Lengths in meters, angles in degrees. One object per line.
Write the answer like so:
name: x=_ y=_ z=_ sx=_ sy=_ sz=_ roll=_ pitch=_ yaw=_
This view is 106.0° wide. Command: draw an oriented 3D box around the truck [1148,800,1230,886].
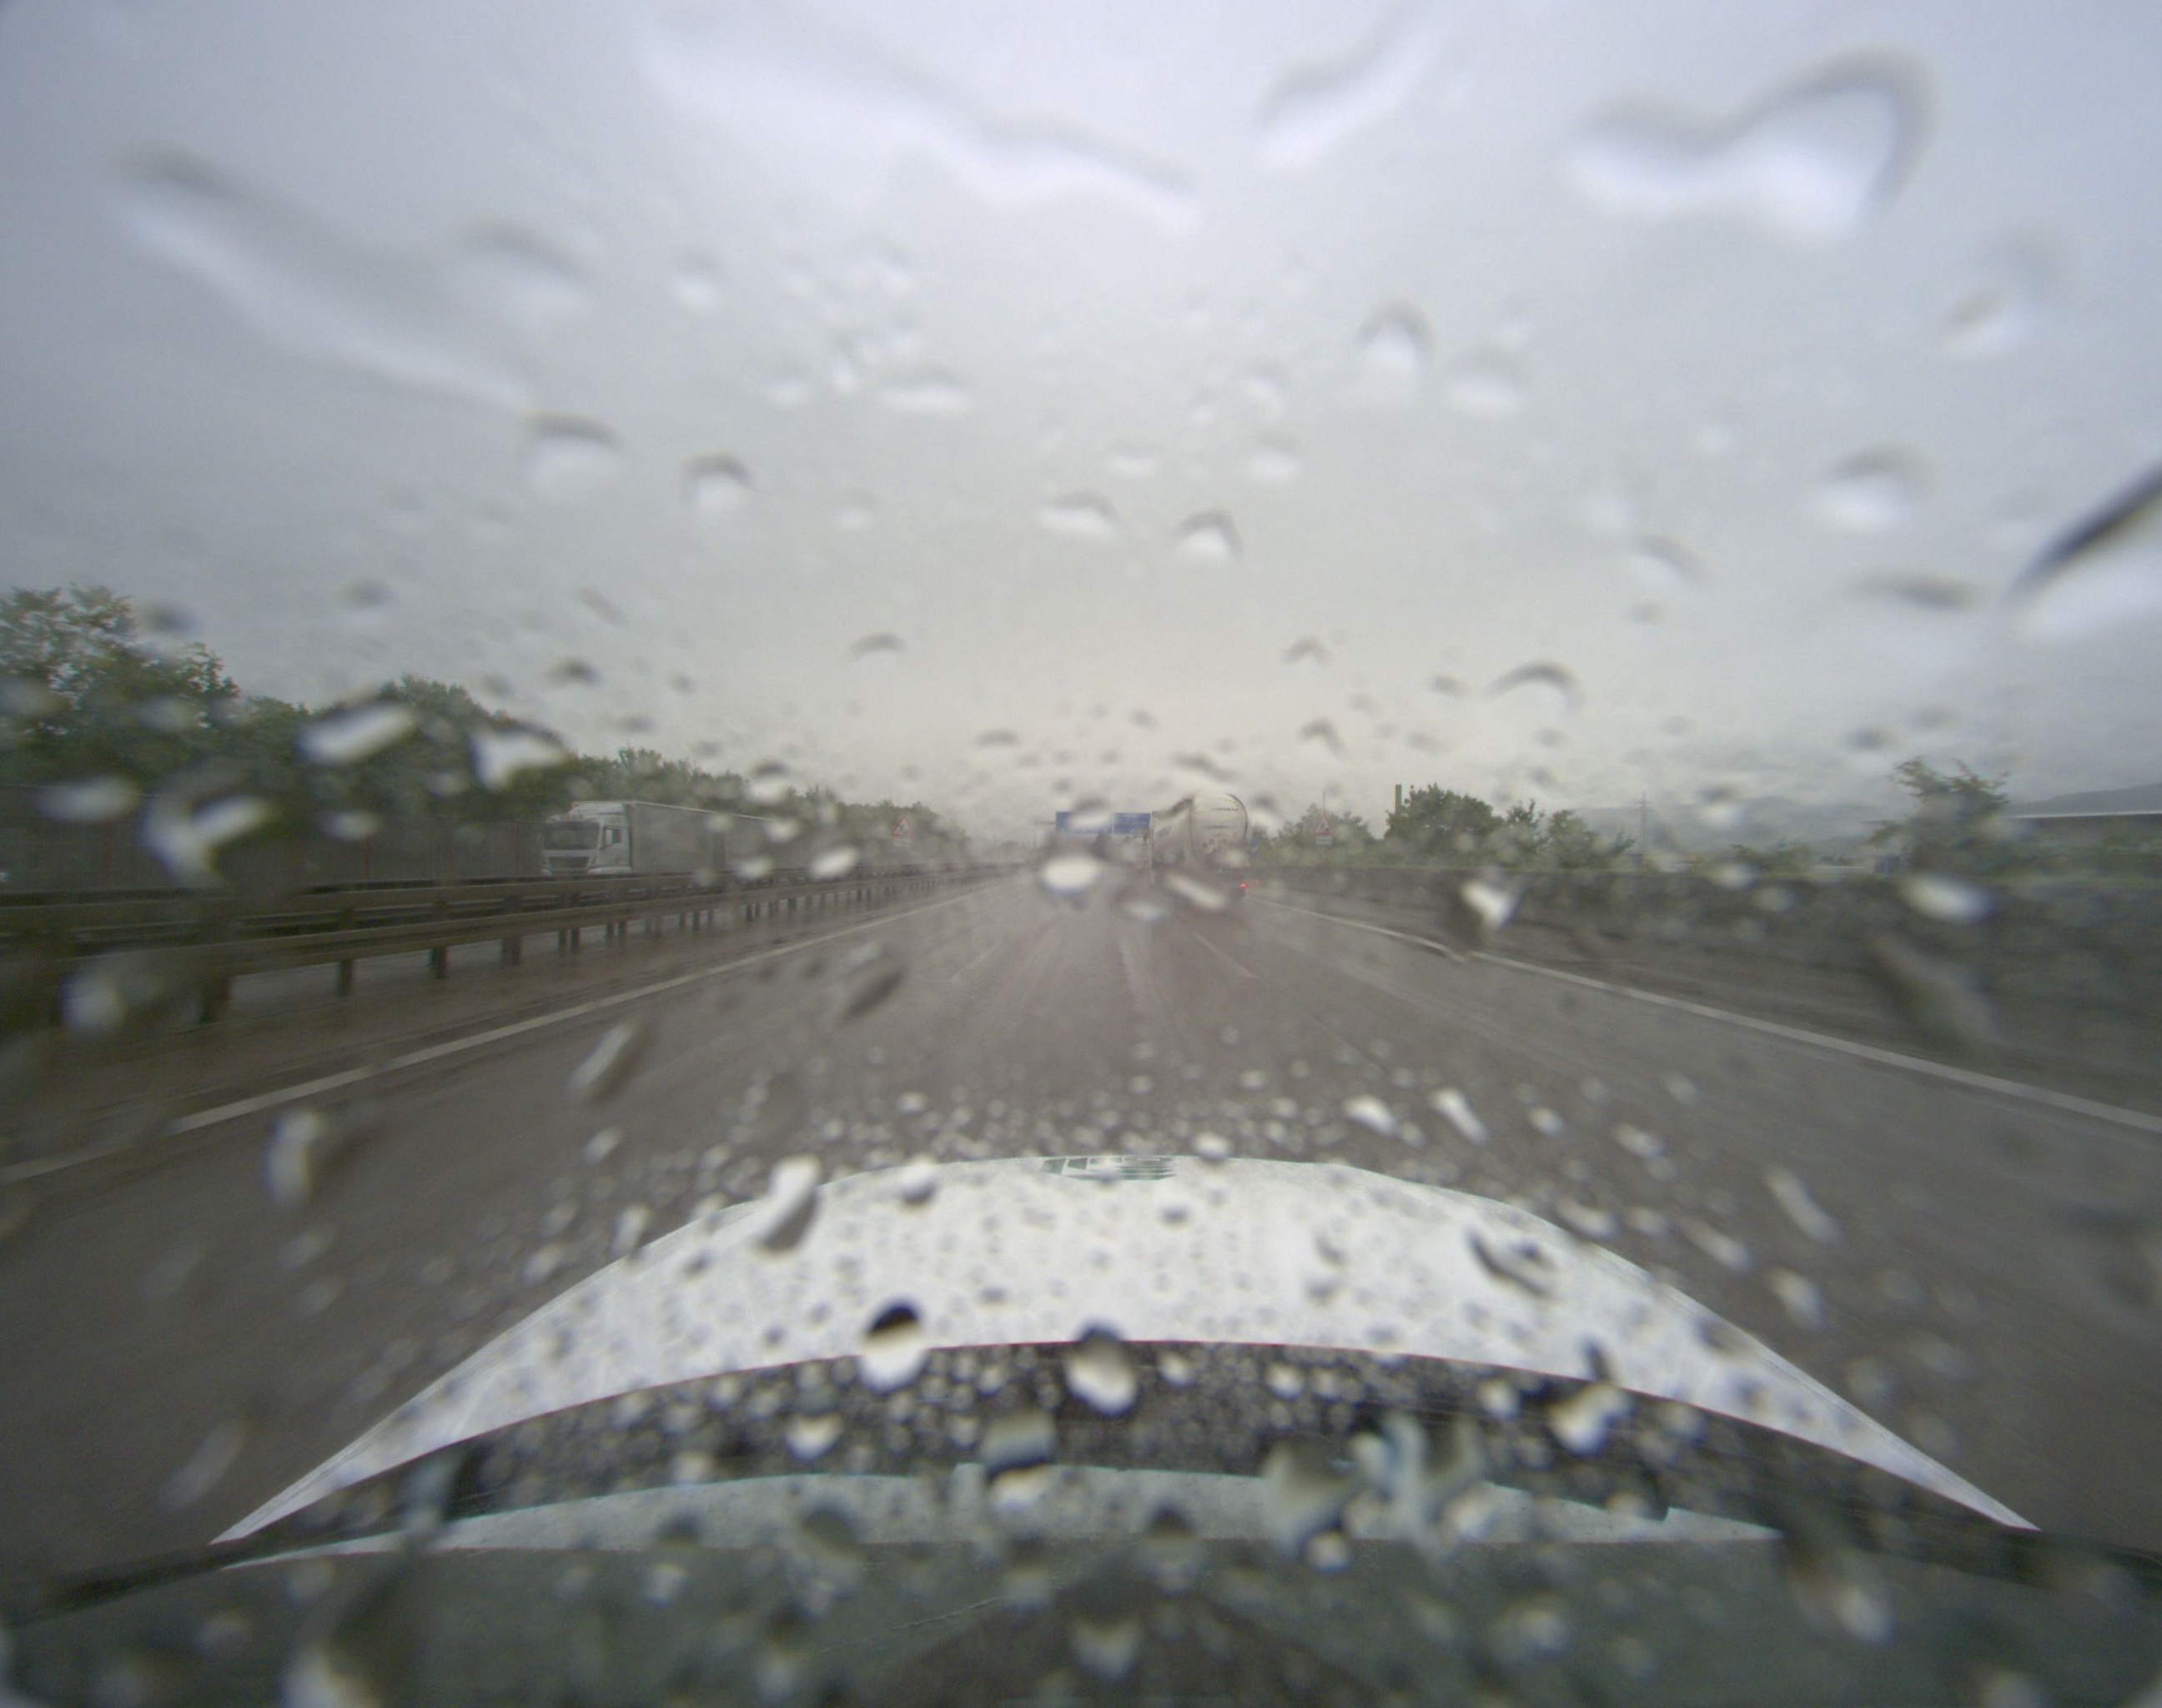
truck: x=5.106 y=-0.492 z=39.889 sx=3.094 sy=3.806 sz=7.212 roll=0 pitch=0 yaw=0

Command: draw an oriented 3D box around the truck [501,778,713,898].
truck: x=-20.439 y=-0.600 z=36.183 sx=3.823 sy=4.639 sz=9.491 roll=0 pitch=0 yaw=0

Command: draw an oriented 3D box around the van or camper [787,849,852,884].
van or camper: x=-15.793 y=0.722 z=49.480 sx=1.986 sy=2.014 sz=5.672 roll=0 pitch=0 yaw=1

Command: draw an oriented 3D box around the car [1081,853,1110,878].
car: x=1.103 y=0.810 z=59.844 sx=1.970 sy=1.756 sz=4.485 roll=-1 pitch=0 yaw=3

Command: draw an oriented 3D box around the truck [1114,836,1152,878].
truck: x=4.779 y=0.257 z=75.986 sx=2.935 sy=3.684 sz=6.358 roll=-1 pitch=0 yaw=-1

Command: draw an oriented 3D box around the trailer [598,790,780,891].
trailer: x=-20.423 y=-0.605 z=43.834 sx=3.857 sy=4.695 sz=12.241 roll=0 pitch=0 yaw=0

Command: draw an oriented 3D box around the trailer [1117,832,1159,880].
trailer: x=4.845 y=0.176 z=70.825 sx=2.995 sy=3.848 sz=8.620 roll=-1 pitch=0 yaw=-1

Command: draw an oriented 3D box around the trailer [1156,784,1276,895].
trailer: x=4.979 y=-0.478 z=32.703 sx=3.177 sy=3.670 sz=11.670 roll=0 pitch=0 yaw=1
